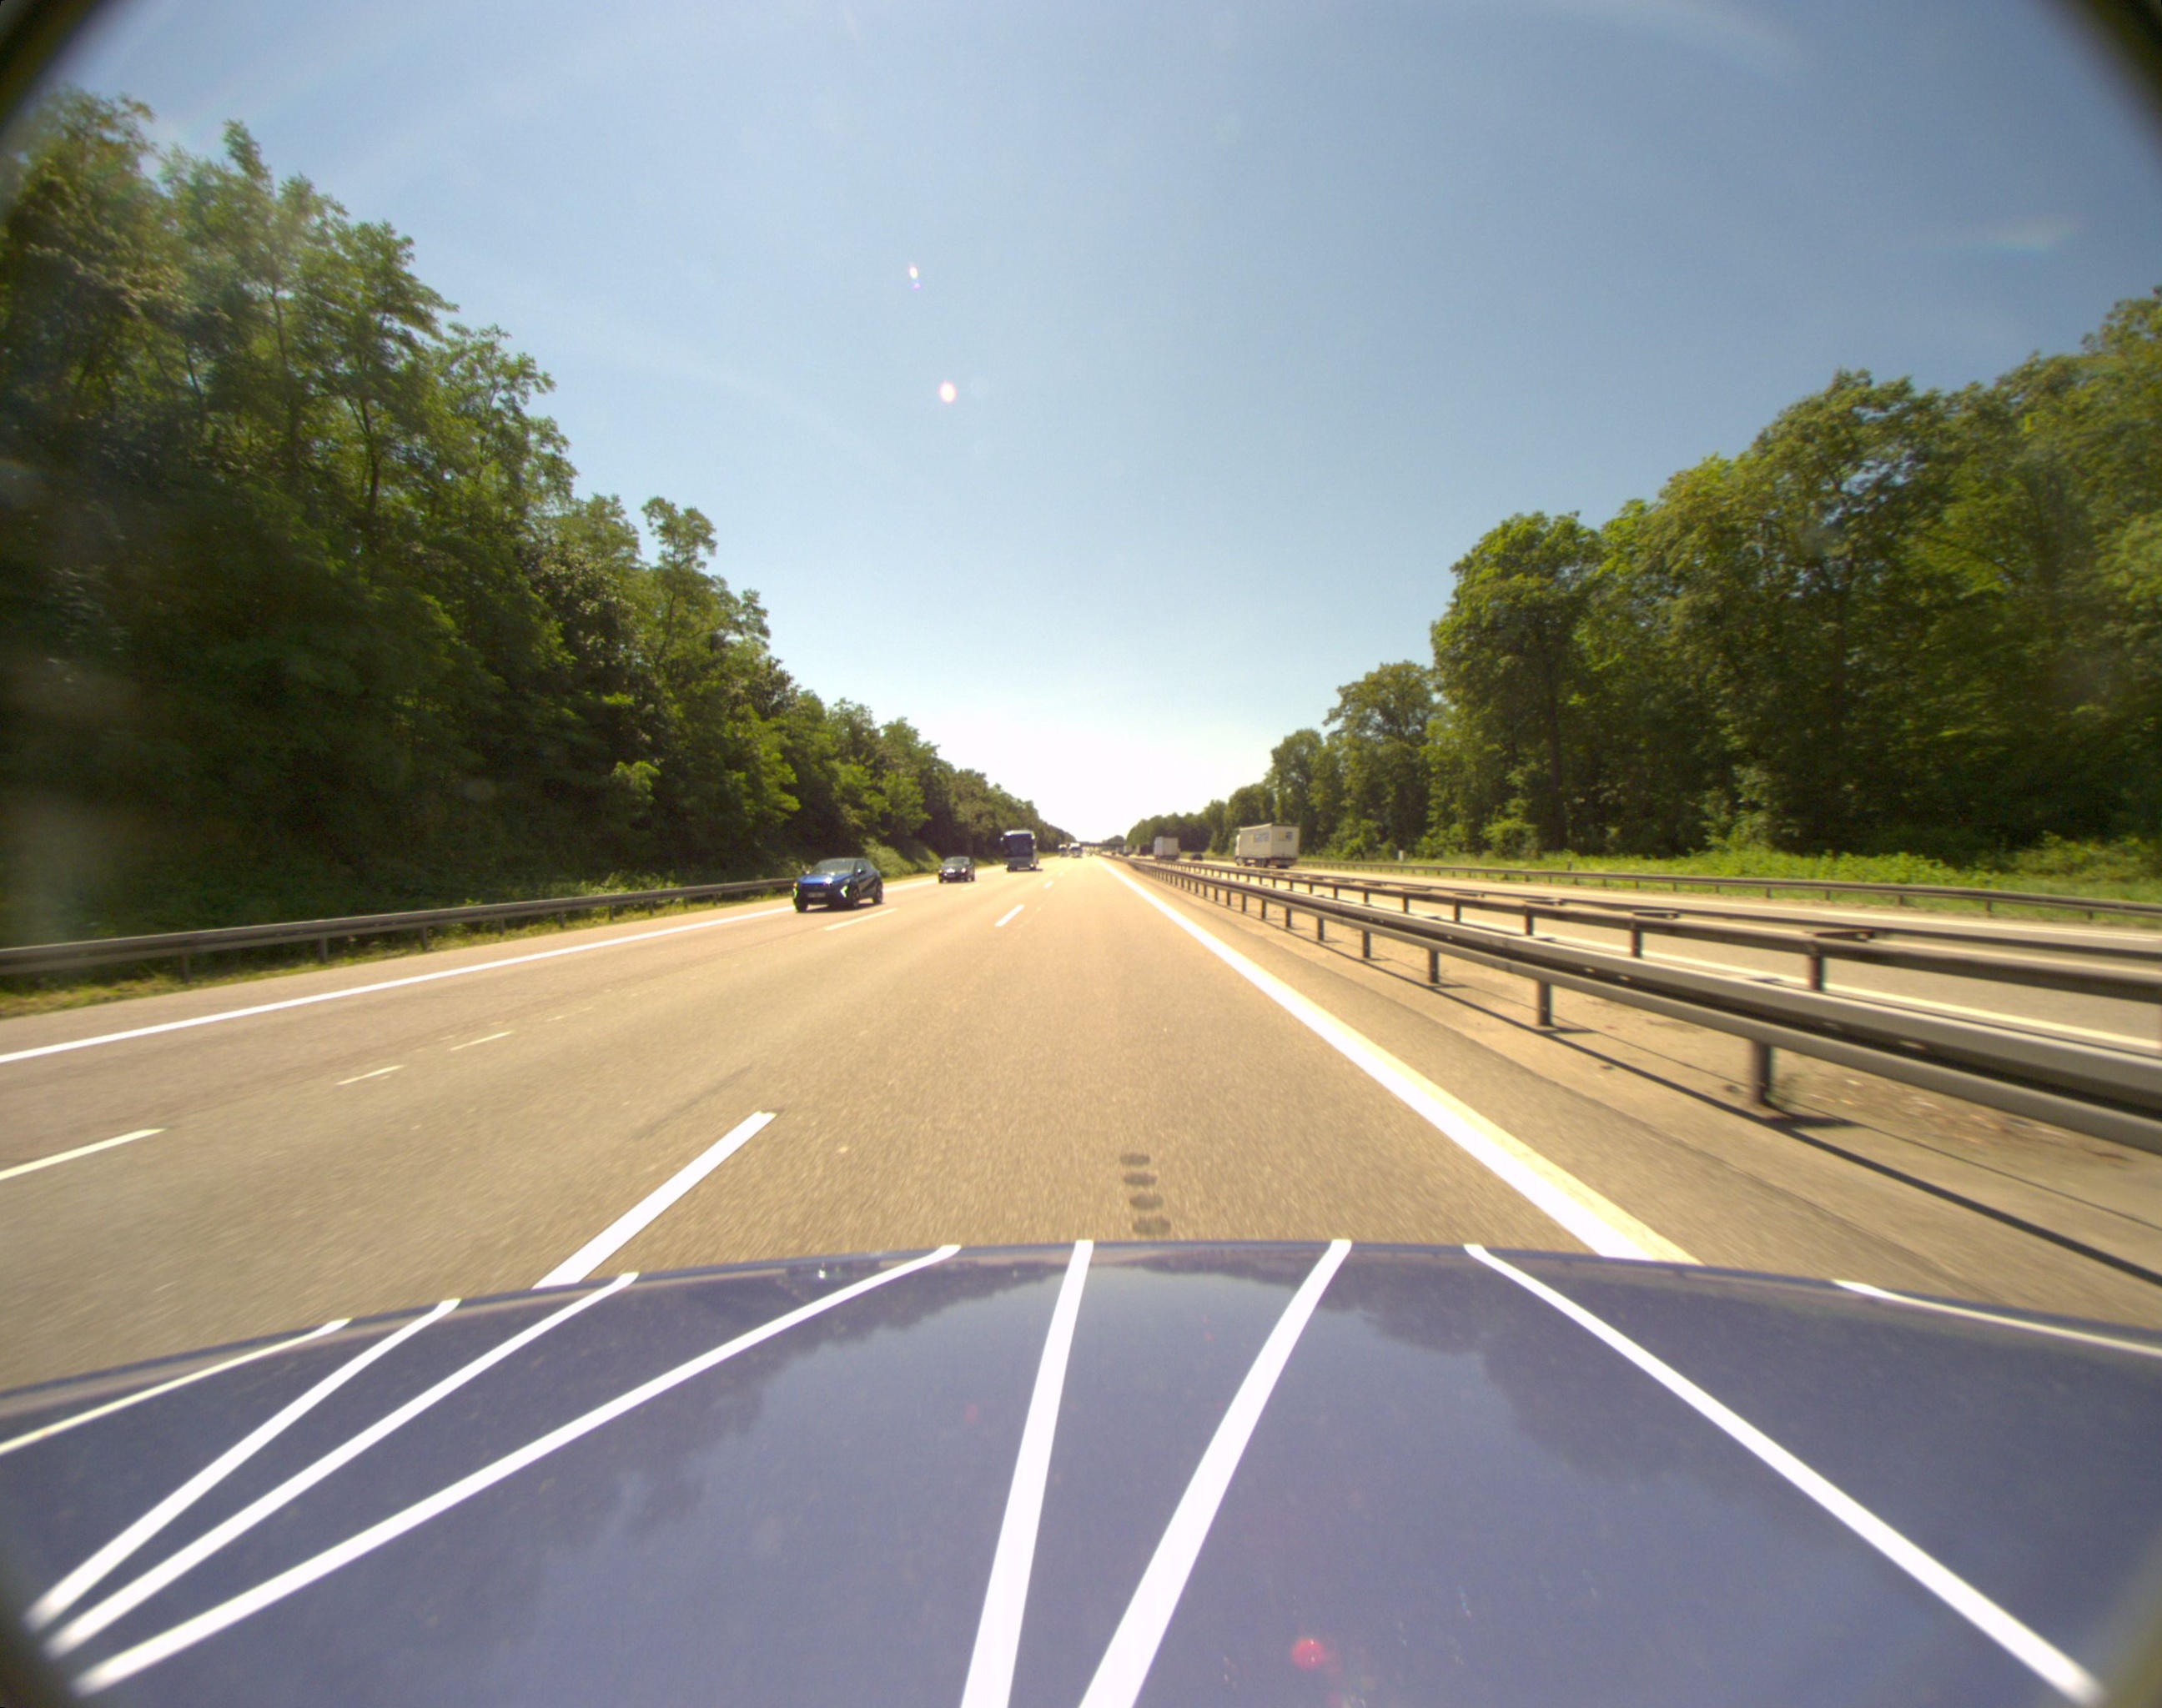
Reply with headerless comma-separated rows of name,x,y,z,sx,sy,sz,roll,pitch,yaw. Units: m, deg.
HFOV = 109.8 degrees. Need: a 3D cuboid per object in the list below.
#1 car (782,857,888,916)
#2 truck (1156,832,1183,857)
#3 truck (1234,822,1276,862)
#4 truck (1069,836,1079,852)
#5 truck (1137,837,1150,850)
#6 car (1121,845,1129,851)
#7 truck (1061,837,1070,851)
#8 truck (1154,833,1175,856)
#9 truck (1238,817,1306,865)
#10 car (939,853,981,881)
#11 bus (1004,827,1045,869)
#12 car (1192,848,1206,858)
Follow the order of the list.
car,-7.634,0.942,24.003,1.875,1.547,4.201,-2,1,1
truck,15.310,-1.622,132.687,2.994,3.995,13.934,-2,1,0
truck,18.555,-1.285,81.619,2.977,4.039,6.457,2,1,1
truck,-2.116,-3.033,225.868,2.616,4.638,10.960,-2,1,0
truck,21.357,-3.502,259.071,3.332,4.317,13.908,-2,1,0
car,11.769,-1.542,203.893,1.811,1.582,4.668,-2,1,1
truck,-5.101,-3.372,253.189,2.616,4.638,10.960,-2,1,0
truck,15.300,-1.717,139.232,2.994,3.996,6.040,-2,1,0
truck,18.572,-1.260,75.165,3.074,4.227,13.958,1,1,0
car,-7.049,0.751,44.785,1.674,1.439,4.573,-2,1,0
bus,-5.160,-0.627,71.703,2.617,3.532,13.680,-2,1,1
car,19.522,-0.195,125.756,1.829,1.527,4.010,0,1,2
